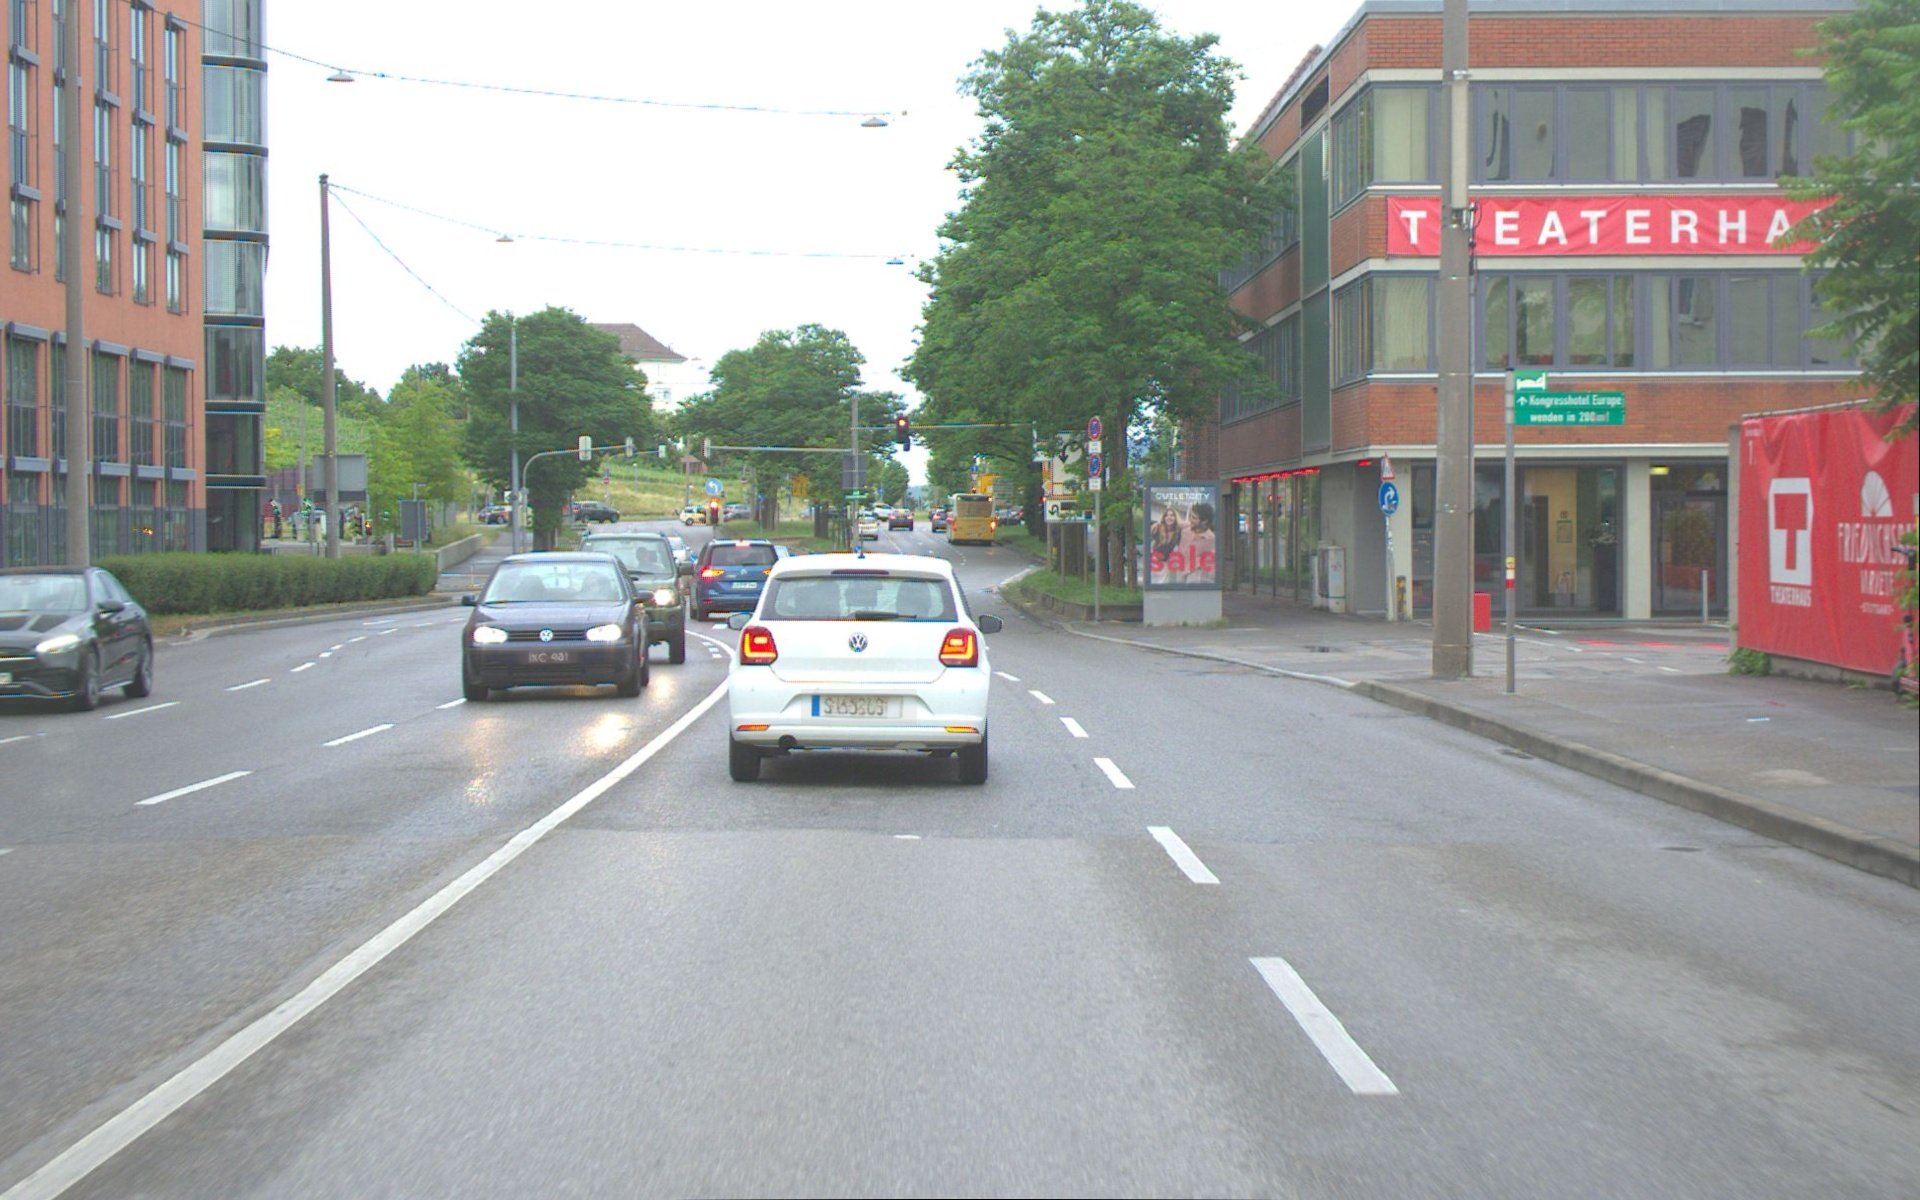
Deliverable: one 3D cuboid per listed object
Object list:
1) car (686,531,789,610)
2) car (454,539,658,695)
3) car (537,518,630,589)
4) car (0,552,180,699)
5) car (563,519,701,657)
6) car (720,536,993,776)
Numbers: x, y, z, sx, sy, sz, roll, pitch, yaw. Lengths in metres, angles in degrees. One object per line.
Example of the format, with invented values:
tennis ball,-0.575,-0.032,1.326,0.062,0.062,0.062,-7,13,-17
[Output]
car,-4.483,-0.625,69.861,1.993,1.568,4.001,0,1,-2
car,-4.064,0.127,35.057,1.659,1.481,3.820,0,1,-1
car,-7.570,-0.938,69.364,1.712,1.360,4.001,-1,1,-4
car,-9.390,0.229,35.384,1.621,1.319,4.446,-2,2,1
car,-4.272,-0.190,45.113,1.503,1.661,3.420,-1,2,-1
car,-0.669,0.309,22.944,1.671,1.469,3.780,0,1,-1
